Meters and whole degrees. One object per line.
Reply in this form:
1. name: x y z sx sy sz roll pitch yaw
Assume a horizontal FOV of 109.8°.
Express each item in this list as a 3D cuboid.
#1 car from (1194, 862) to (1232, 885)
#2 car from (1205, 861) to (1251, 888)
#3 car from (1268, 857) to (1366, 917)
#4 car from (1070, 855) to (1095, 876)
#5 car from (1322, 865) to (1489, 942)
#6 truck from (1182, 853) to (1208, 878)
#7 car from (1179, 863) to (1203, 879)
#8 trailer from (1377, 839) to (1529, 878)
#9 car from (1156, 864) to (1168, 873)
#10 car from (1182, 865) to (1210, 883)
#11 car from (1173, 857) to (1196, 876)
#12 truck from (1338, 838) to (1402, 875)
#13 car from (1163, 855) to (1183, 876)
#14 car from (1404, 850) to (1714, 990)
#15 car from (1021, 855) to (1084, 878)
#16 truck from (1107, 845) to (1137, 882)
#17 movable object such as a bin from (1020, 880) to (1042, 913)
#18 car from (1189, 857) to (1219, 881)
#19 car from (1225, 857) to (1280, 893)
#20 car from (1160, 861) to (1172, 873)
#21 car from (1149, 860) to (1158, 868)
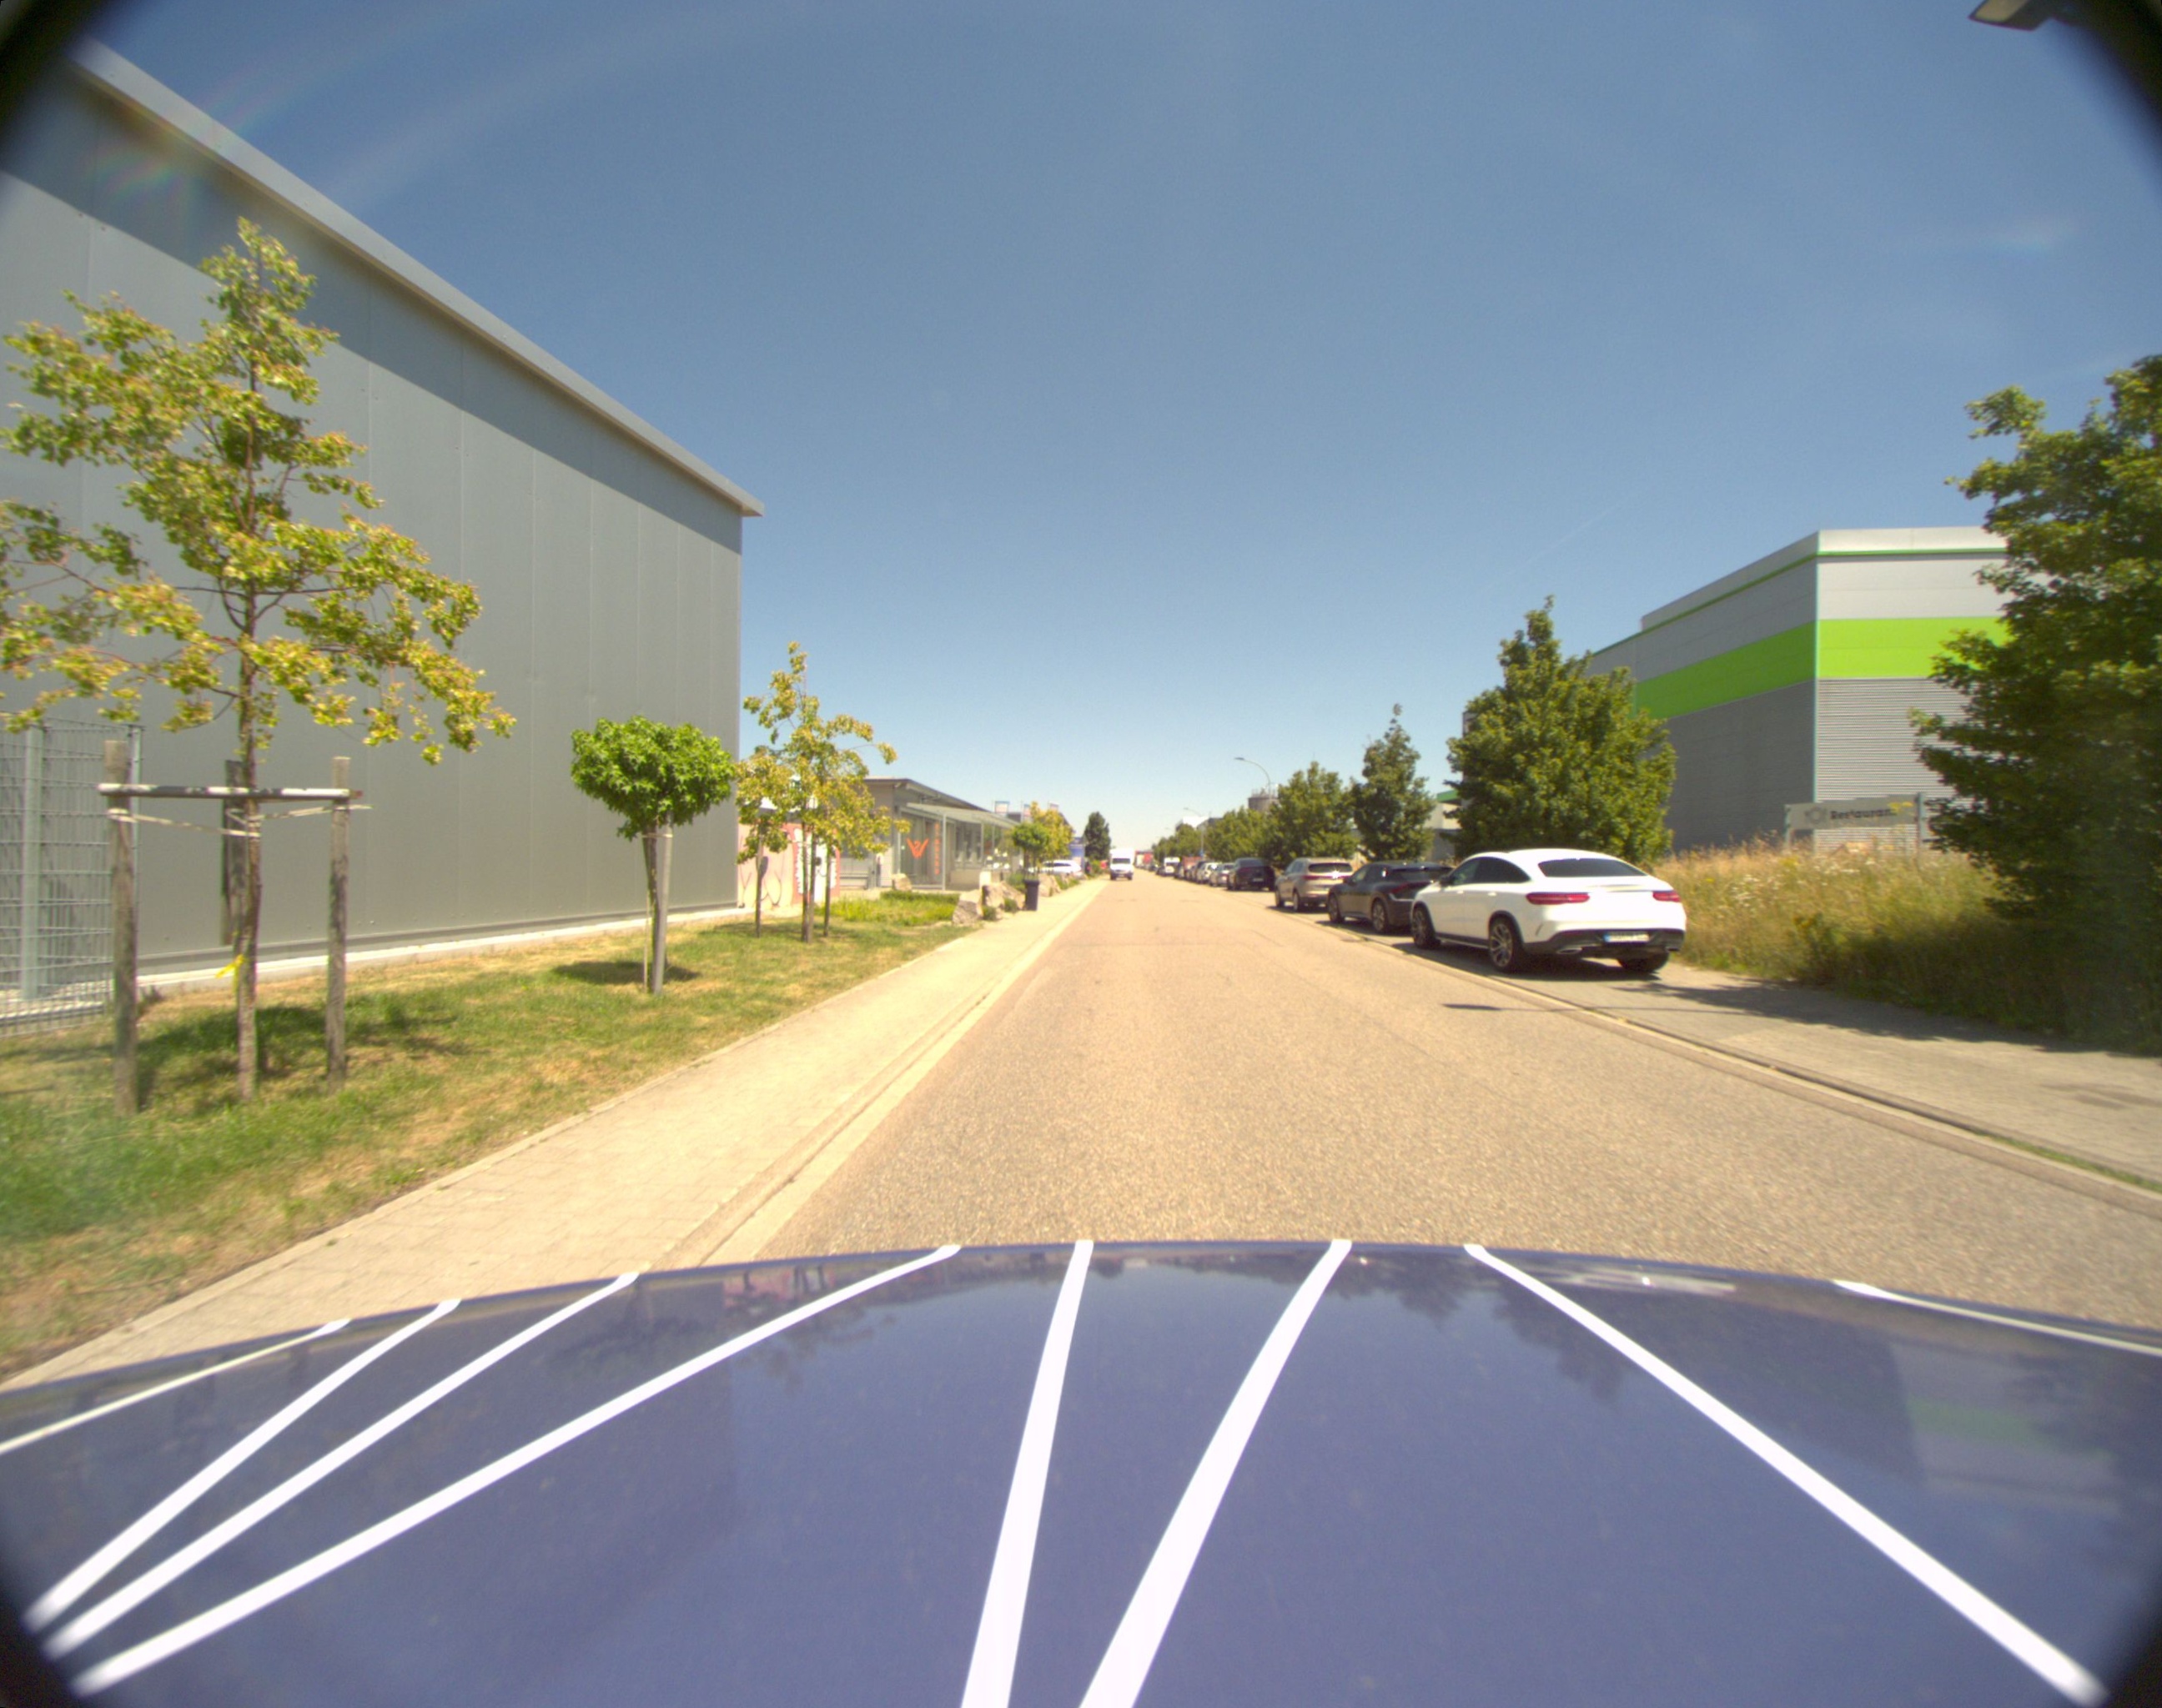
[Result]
1. car: 9.170 1.351 53.240 1.856 1.510 4.906 -1 -1 1
2. car: 9.050 1.243 47.165 1.856 1.510 5.168 -1 -1 1
3. car: 7.302 0.979 24.007 1.917 1.703 4.414 -1 -1 3
4. car: 0.169 1.144 76.189 1.998 2.001 5.339 1 -1 5
5. car: 7.104 1.016 17.207 1.917 1.483 4.413 -1 -1 0
6. truck: 10.505 1.085 70.136 1.856 2.209 4.647 -1 -1 3
7. car: 10.770 1.681 74.700 1.856 1.541 3.768 -1 -1 1
8. trailer: 42.196 0.520 86.602 15.353 4.063 3.221 1 0 4
9. car: 14.016 2.514 131.250 1.798 1.477 4.453 -1 -1 3
10. car: 9.753 1.690 64.707 1.855 1.434 4.755 -1 -1 3
11. car: 10.967 1.308 80.917 1.978 1.889 5.404 1 0 3
12. truck: 33.093 0.323 87.302 6.118 4.063 3.221 1 0 4
13. car: 12.270 1.535 101.978 2.328 2.583 6.088 -1 -1 4
14. car: 6.785 0.843 11.574 1.917 1.645 4.756 1 -1 3
15. car: -1.950 0.869 53.233 4.290 1.532 1.913 1 0 0
16. truck: 3.880 0.855 70.625 2.462 3.186 6.885 1 0 5
17. movable object such as a bin: -1.466 1.248 22.329 0.560 0.941 0.539 1 0 2
18. car: 9.560 1.182 59.213 1.855 1.748 4.989 -1 -1 4
19. car: 8.921 1.076 39.969 1.996 1.703 5.009 -1 -1 4
20. car: 13.256 1.978 118.669 1.835 1.799 4.084 -1 -1 4
21. car: 16.431 2.267 172.484 1.798 1.638 3.832 1 0 3
